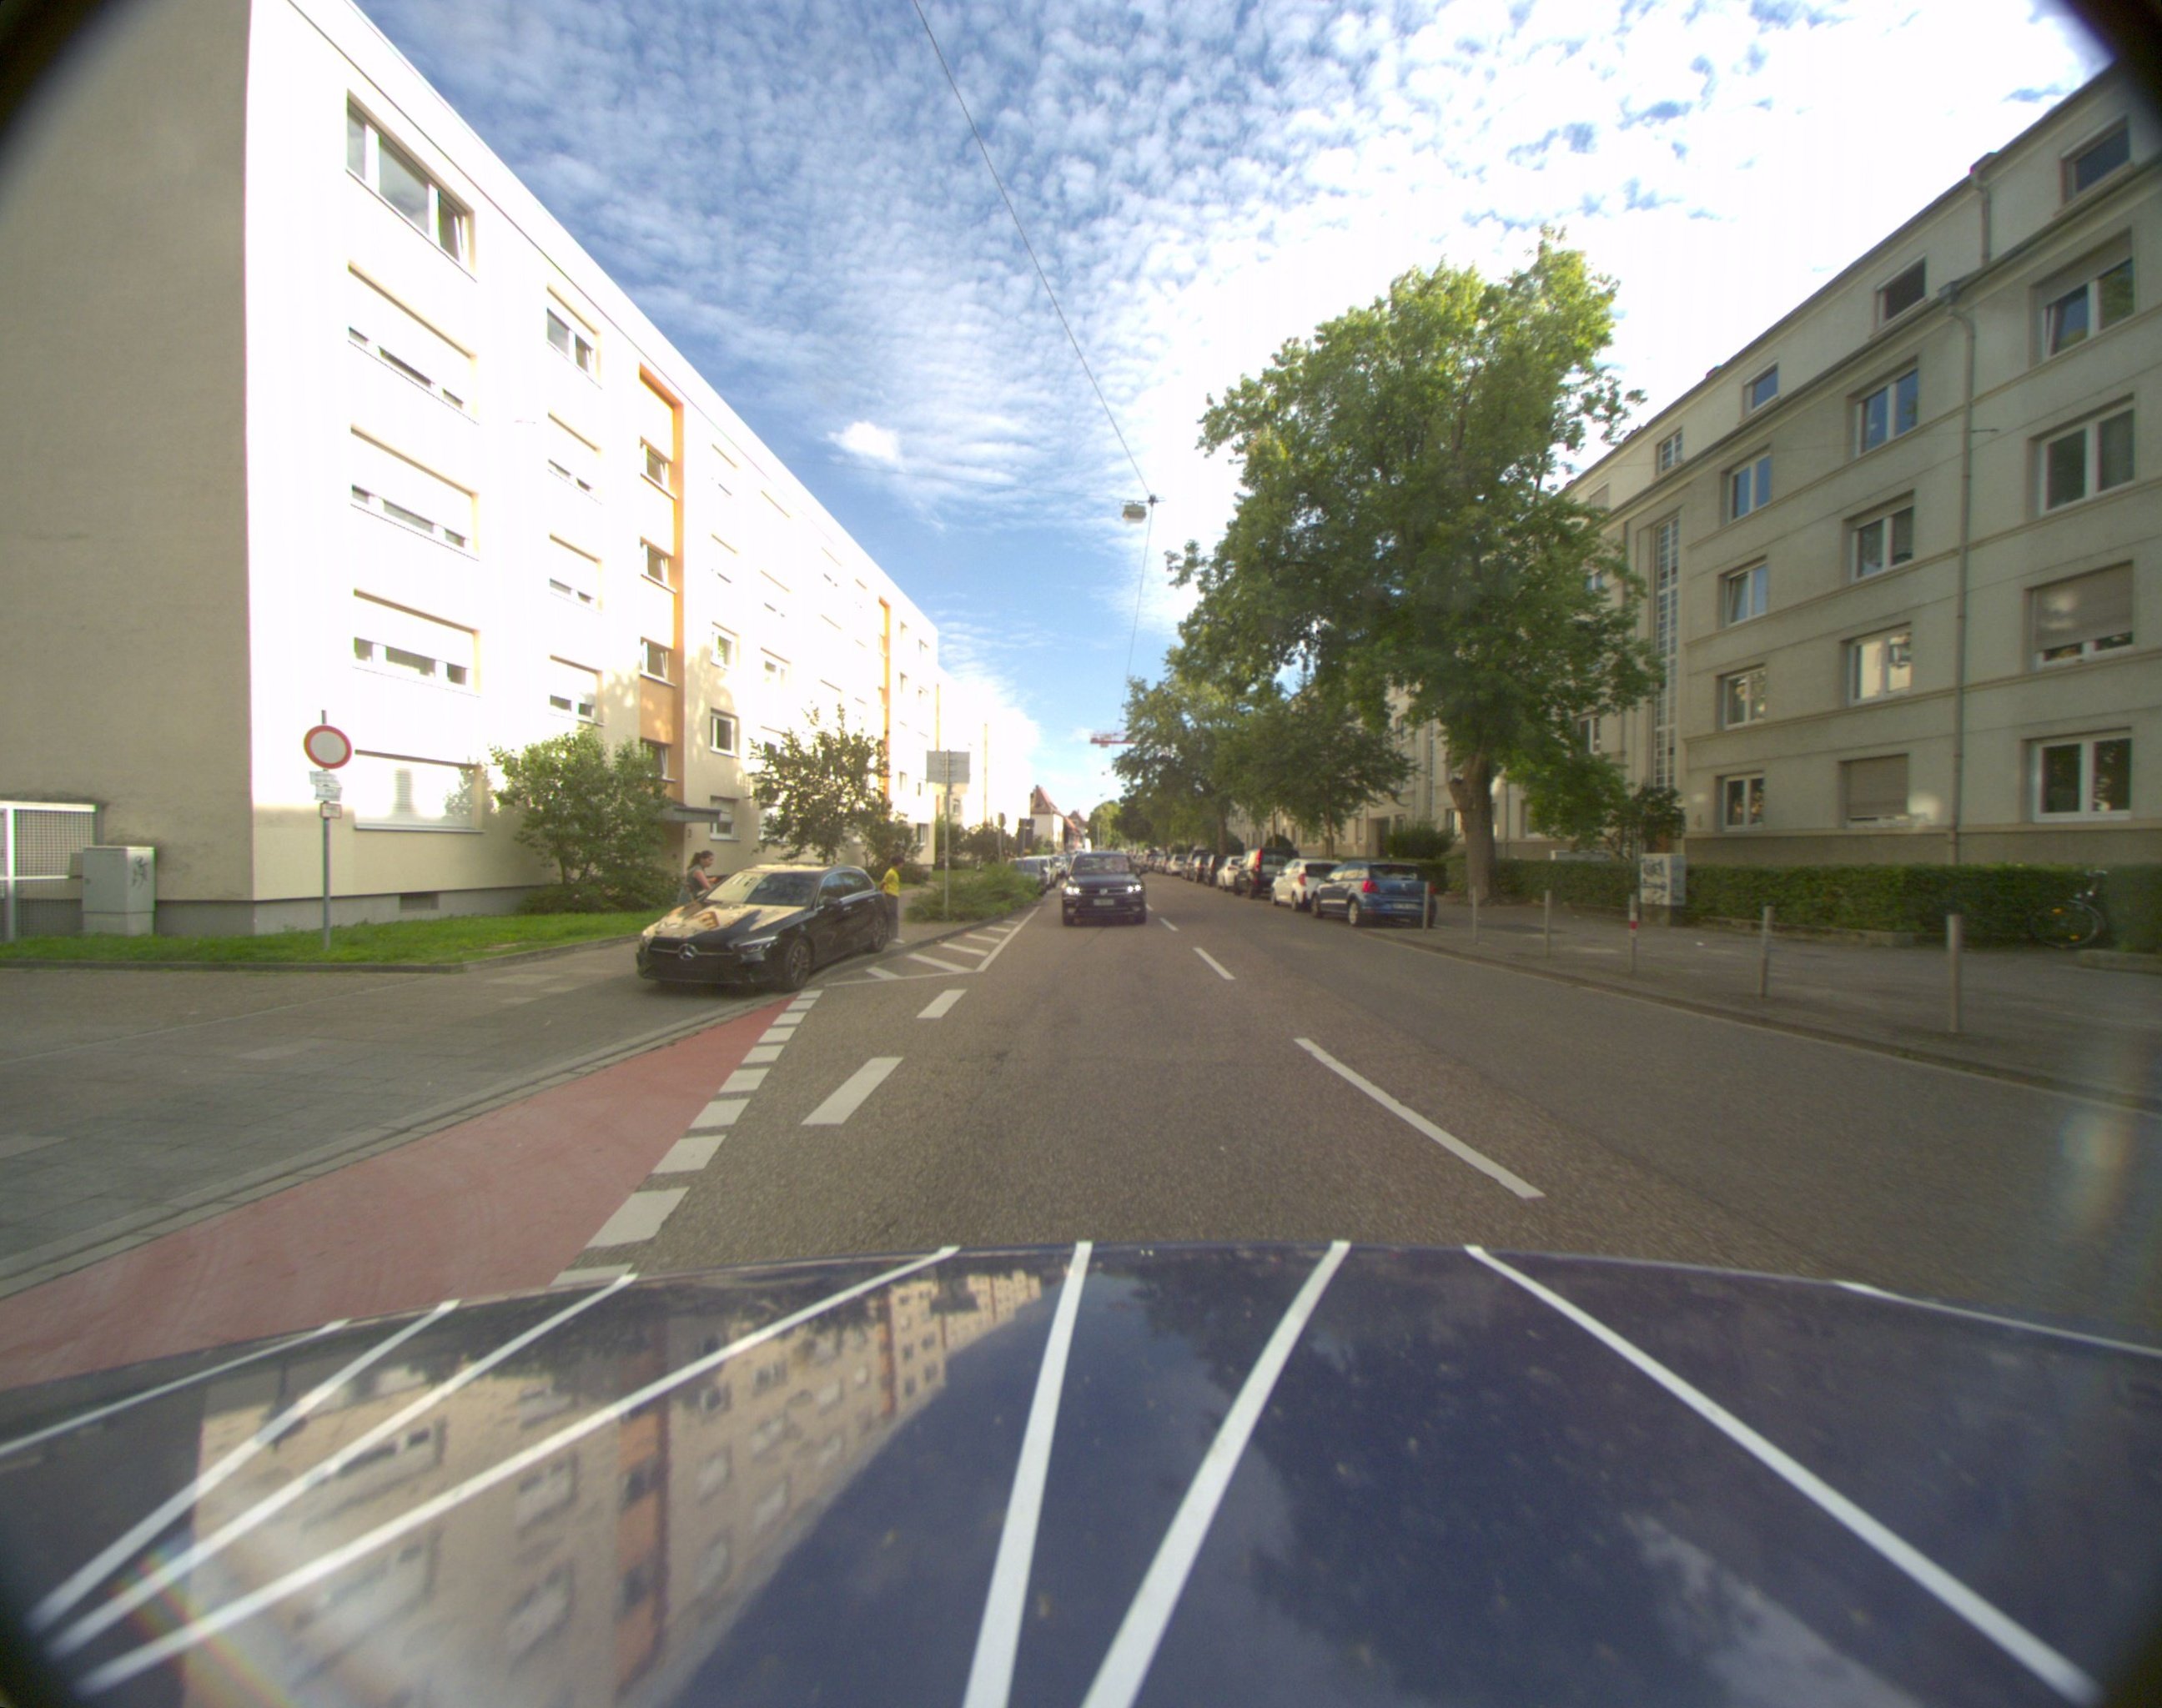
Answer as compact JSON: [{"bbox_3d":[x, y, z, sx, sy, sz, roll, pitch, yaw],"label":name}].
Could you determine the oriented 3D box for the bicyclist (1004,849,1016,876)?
[{"bbox_3d":[-4.469,0.525,47.793,0.625,1.668,0.893,0,1,0],"label":"bicyclist"}]

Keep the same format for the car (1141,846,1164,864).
[{"bbox_3d":[7.623,0.073,81.078,1.882,1.782,4.970,2,1,0],"label":"car"}]

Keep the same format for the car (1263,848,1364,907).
[{"bbox_3d":[6.605,0.596,21.984,1.803,1.485,3.803,2,1,2],"label":"car"}]

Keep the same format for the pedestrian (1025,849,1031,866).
[{"bbox_3d":[-5.318,0.329,76.260,0.543,1.711,0.771,0,1,6],"label":"pedestrian"}]

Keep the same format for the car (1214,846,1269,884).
[{"bbox_3d":[6.803,0.428,32.603,1.698,1.484,4.333,2,0,5],"label":"car"}]

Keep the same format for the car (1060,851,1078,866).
[{"bbox_3d":[-1.251,0.419,76.909,1.733,1.506,4.190,0,0,-2],"label":"car"}]

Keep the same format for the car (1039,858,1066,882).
[{"bbox_3d":[-1.892,1.054,51.498,1.733,1.571,4.117,0,0,-1],"label":"car"}]

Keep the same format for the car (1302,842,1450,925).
[{"bbox_3d":[6.519,0.581,17.263,1.804,1.611,3.802,2,1,-1],"label":"car"}]

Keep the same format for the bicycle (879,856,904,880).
[{"bbox_3d":[-9.220,0.650,37.050,0.598,1.108,2.209,1,1,1],"label":"bicycle"}]

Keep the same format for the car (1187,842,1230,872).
[{"bbox_3d":[6.815,0.130,40.945,1.704,1.478,3.848,2,1,2],"label":"car"}]

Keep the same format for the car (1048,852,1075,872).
[{"bbox_3d":[-1.480,0.587,57.884,1.732,1.479,4.642,0,0,2],"label":"car"}]

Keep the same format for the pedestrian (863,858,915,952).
[{"bbox_3d":[-3.266,0.847,12.974,0.654,1.530,0.743,1,1,1],"label":"pedestrian"}]

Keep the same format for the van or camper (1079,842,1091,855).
[{"bbox_3d":[0.717,-1.055,145.591,2.165,2.512,5.913,2,1,1],"label":"van or camper"}]

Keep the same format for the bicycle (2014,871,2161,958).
[{"bbox_3d":[13.993,0.803,10.352,1.872,1.125,0.597,0,1,-2],"label":"bicycle"}]

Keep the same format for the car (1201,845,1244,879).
[{"bbox_3d":[6.838,0.374,36.991,1.556,1.511,3.016,2,1,2],"label":"car"}]

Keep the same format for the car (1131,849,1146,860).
[{"bbox_3d":[8.392,-0.002,111.861,1.860,1.477,4.798,4,1,1],"label":"car"}]

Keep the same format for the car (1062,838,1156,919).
[{"bbox_3d":[0.549,0.506,17.959,1.860,1.673,3.998,-1,1,-3],"label":"car"}]

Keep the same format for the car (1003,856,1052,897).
[{"bbox_3d":[-2.118,0.866,31.024,1.694,1.519,4.237,0,0,0],"label":"car"}]

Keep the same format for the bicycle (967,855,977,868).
[{"bbox_3d":[-8.080,0.556,56.341,0.460,0.936,1.517,1,1,0],"label":"bicycle"}]

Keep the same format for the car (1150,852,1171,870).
[{"bbox_3d":[7.371,0.592,70.764,1.689,1.472,4.452,3,1,4],"label":"car"}]

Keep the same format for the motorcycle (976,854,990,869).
[{"bbox_3d":[-7.175,0.538,55.695,0.632,1.038,2.393,2,1,0],"label":"motorcycle"}]

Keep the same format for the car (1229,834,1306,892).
[{"bbox_3d":[6.625,0.277,27.446,1.727,1.871,4.191,2,1,1],"label":"car"}]

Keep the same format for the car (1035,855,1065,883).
[{"bbox_3d":[-1.730,0.819,43.722,1.555,1.548,3.468,0,1,1],"label":"car"}]

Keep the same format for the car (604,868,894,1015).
[{"bbox_3d":[-4.087,0.971,10.242,1.764,1.403,4.234,1,1,5],"label":"car"}]

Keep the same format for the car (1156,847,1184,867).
[{"bbox_3d":[6.983,0.199,59.788,1.618,1.460,4.013,3,0,-1],"label":"car"}]

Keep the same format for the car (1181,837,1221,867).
[{"bbox_3d":[7.241,-0.109,46.236,1.803,1.658,4.483,2,1,2],"label":"car"}]

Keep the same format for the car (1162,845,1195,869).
[{"bbox_3d":[7.062,0.191,55.351,1.743,1.611,3.994,2,0,0],"label":"car"}]

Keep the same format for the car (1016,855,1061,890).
[{"bbox_3d":[-1.999,0.850,36.829,1.693,1.519,4.238,0,0,4],"label":"car"}]

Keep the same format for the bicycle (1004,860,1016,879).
[{"bbox_3d":[-4.468,0.984,47.766,0.525,1.128,1.929,0,1,0],"label":"bicycle"}]

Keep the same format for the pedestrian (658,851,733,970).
[{"bbox_3d":[-5.496,0.785,10.856,0.654,1.636,0.743,-1,1,1],"label":"pedestrian"}]
